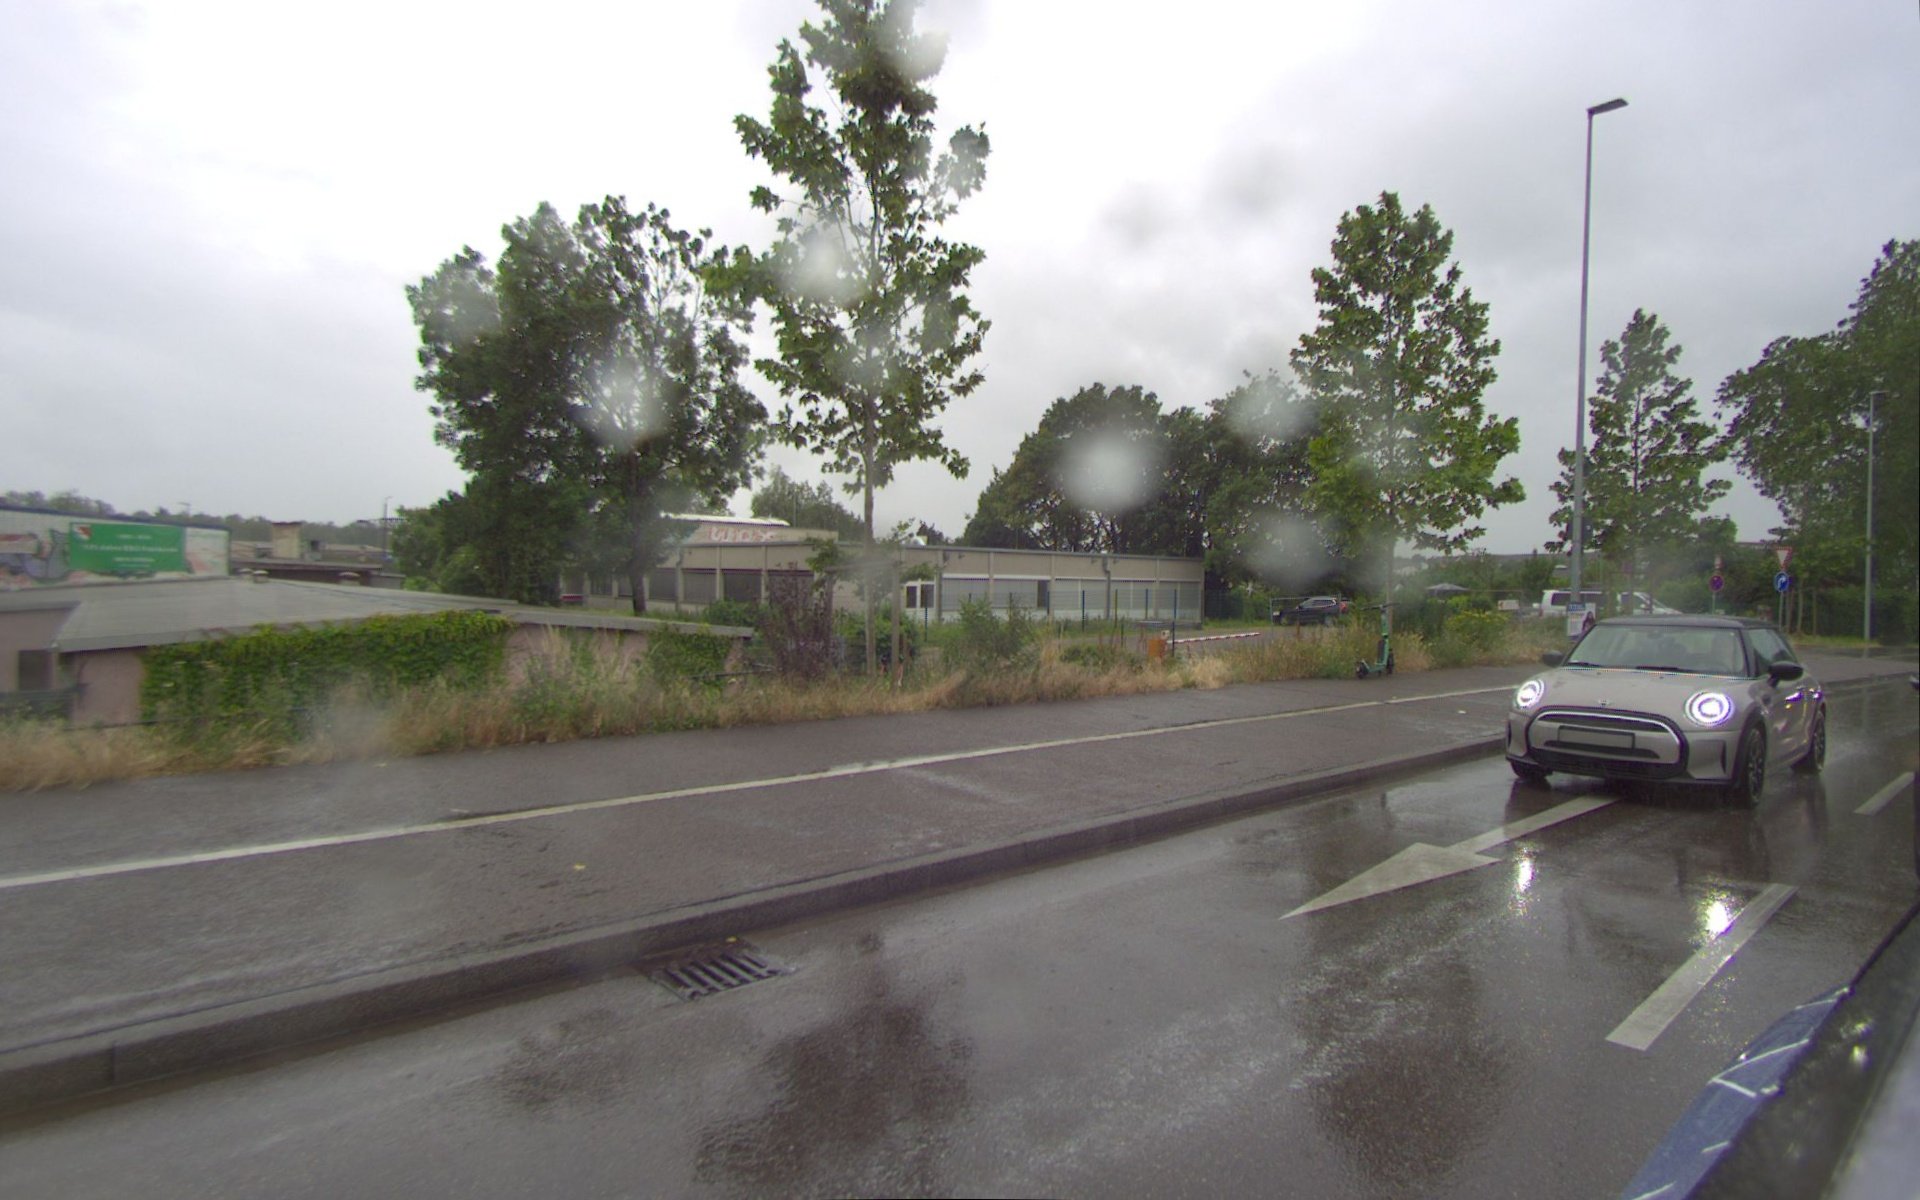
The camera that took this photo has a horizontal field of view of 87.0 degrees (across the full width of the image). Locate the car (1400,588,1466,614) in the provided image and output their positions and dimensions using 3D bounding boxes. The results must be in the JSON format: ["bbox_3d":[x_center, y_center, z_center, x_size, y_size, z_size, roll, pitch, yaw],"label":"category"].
[{"bbox_3d":[29.706,0.067,63.623,1.319,1.604,3.555,0,0,-35],"label":"car"}]

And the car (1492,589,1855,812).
[{"bbox_3d":[6.335,0.719,8.840,3.811,1.527,1.705,1,-1,-40],"label":"car"}]

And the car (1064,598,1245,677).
[{"bbox_3d":[3.460,0.619,18.429,1.319,1.304,3.246,0,0,-35],"label":"car"}]

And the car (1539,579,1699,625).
[{"bbox_3d":[26.807,0.086,41.314,1.972,1.747,5.168,0,0,-42],"label":"car"}]

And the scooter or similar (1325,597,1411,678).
[{"bbox_3d":[6.441,0.559,15.946,1.877,1.214,0.367,0,0,-38],"label":"scooter or similar"}]
